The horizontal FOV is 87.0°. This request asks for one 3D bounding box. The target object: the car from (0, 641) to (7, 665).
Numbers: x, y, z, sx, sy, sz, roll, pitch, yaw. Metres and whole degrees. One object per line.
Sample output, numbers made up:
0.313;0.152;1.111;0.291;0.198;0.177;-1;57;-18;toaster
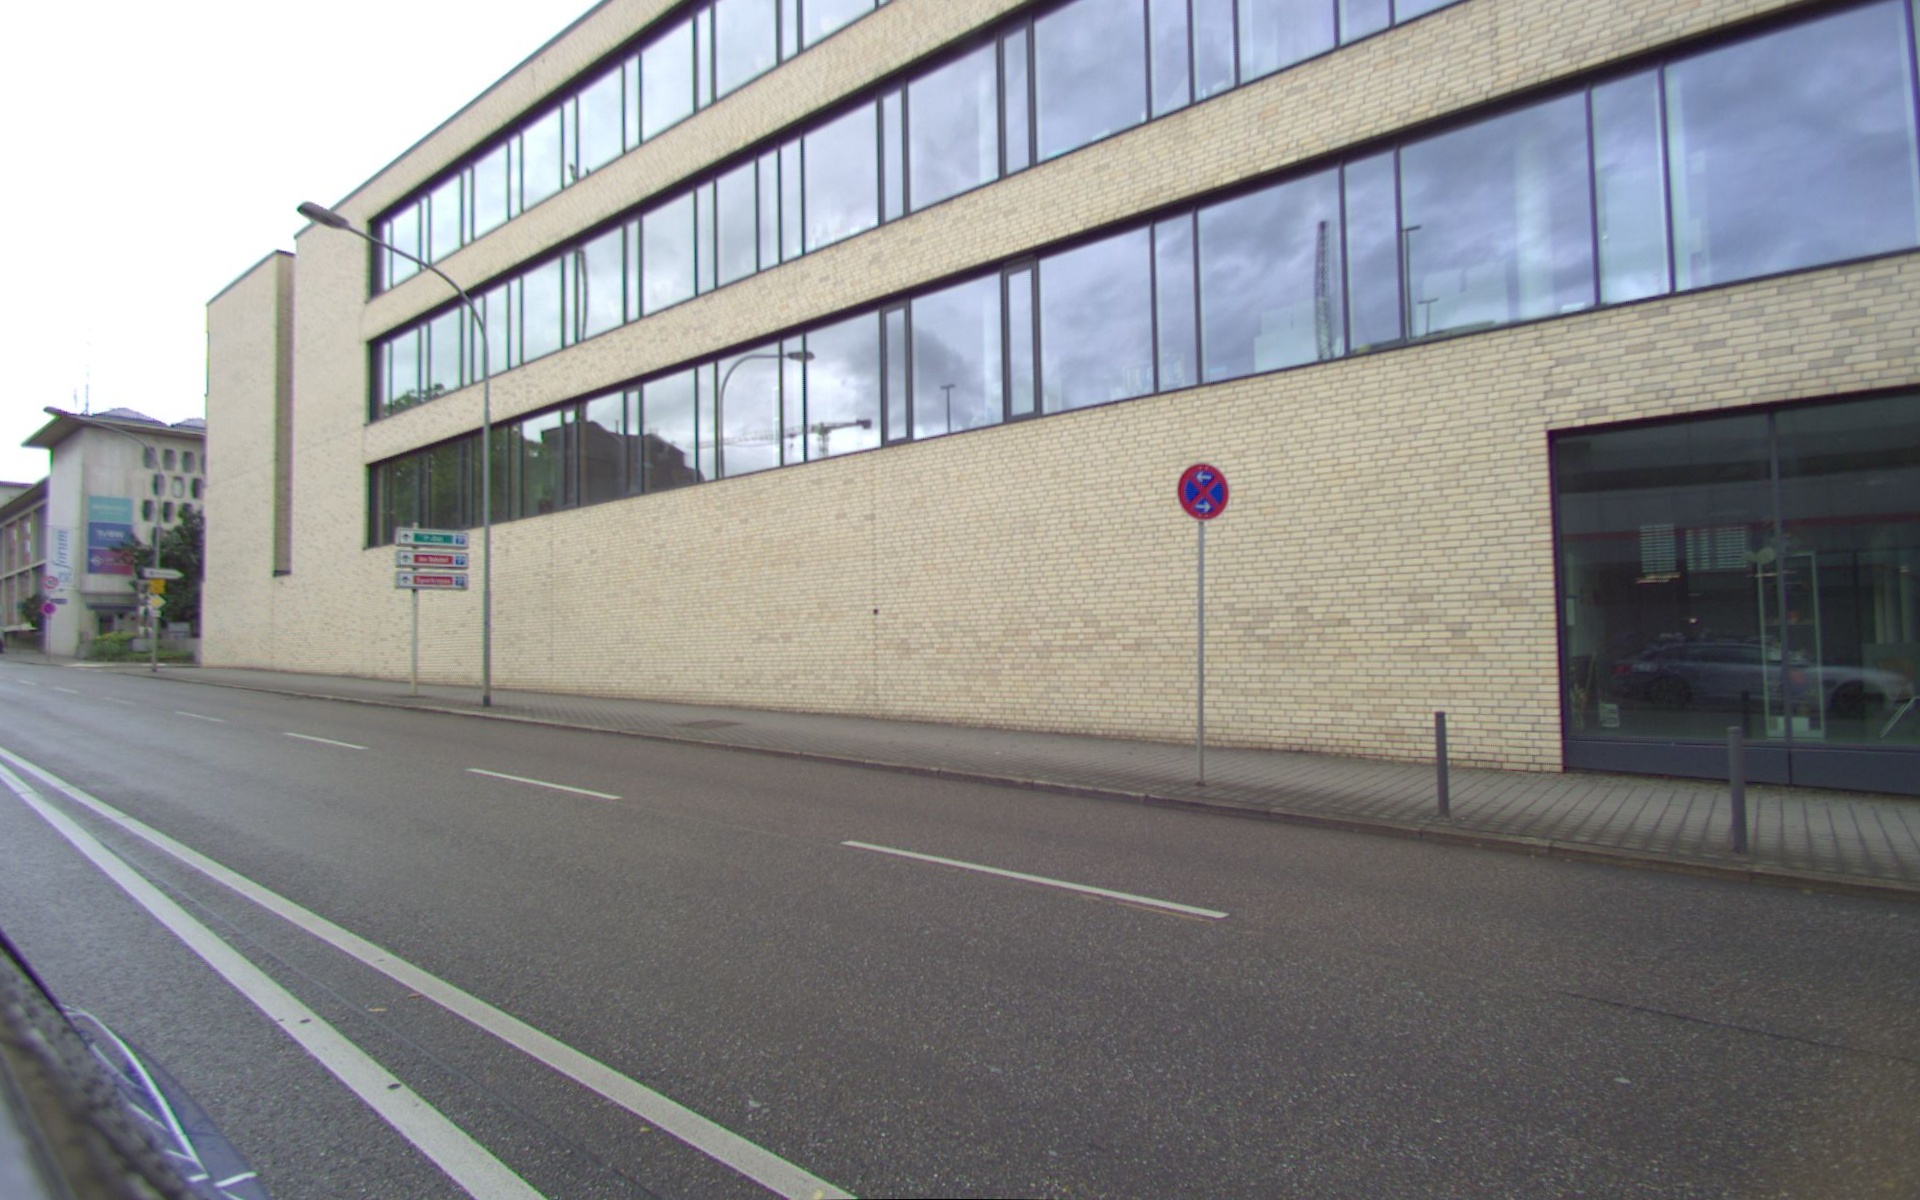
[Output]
-63.692;3.464;65.839;3.996;1.541;1.974;-1;0;39;car
